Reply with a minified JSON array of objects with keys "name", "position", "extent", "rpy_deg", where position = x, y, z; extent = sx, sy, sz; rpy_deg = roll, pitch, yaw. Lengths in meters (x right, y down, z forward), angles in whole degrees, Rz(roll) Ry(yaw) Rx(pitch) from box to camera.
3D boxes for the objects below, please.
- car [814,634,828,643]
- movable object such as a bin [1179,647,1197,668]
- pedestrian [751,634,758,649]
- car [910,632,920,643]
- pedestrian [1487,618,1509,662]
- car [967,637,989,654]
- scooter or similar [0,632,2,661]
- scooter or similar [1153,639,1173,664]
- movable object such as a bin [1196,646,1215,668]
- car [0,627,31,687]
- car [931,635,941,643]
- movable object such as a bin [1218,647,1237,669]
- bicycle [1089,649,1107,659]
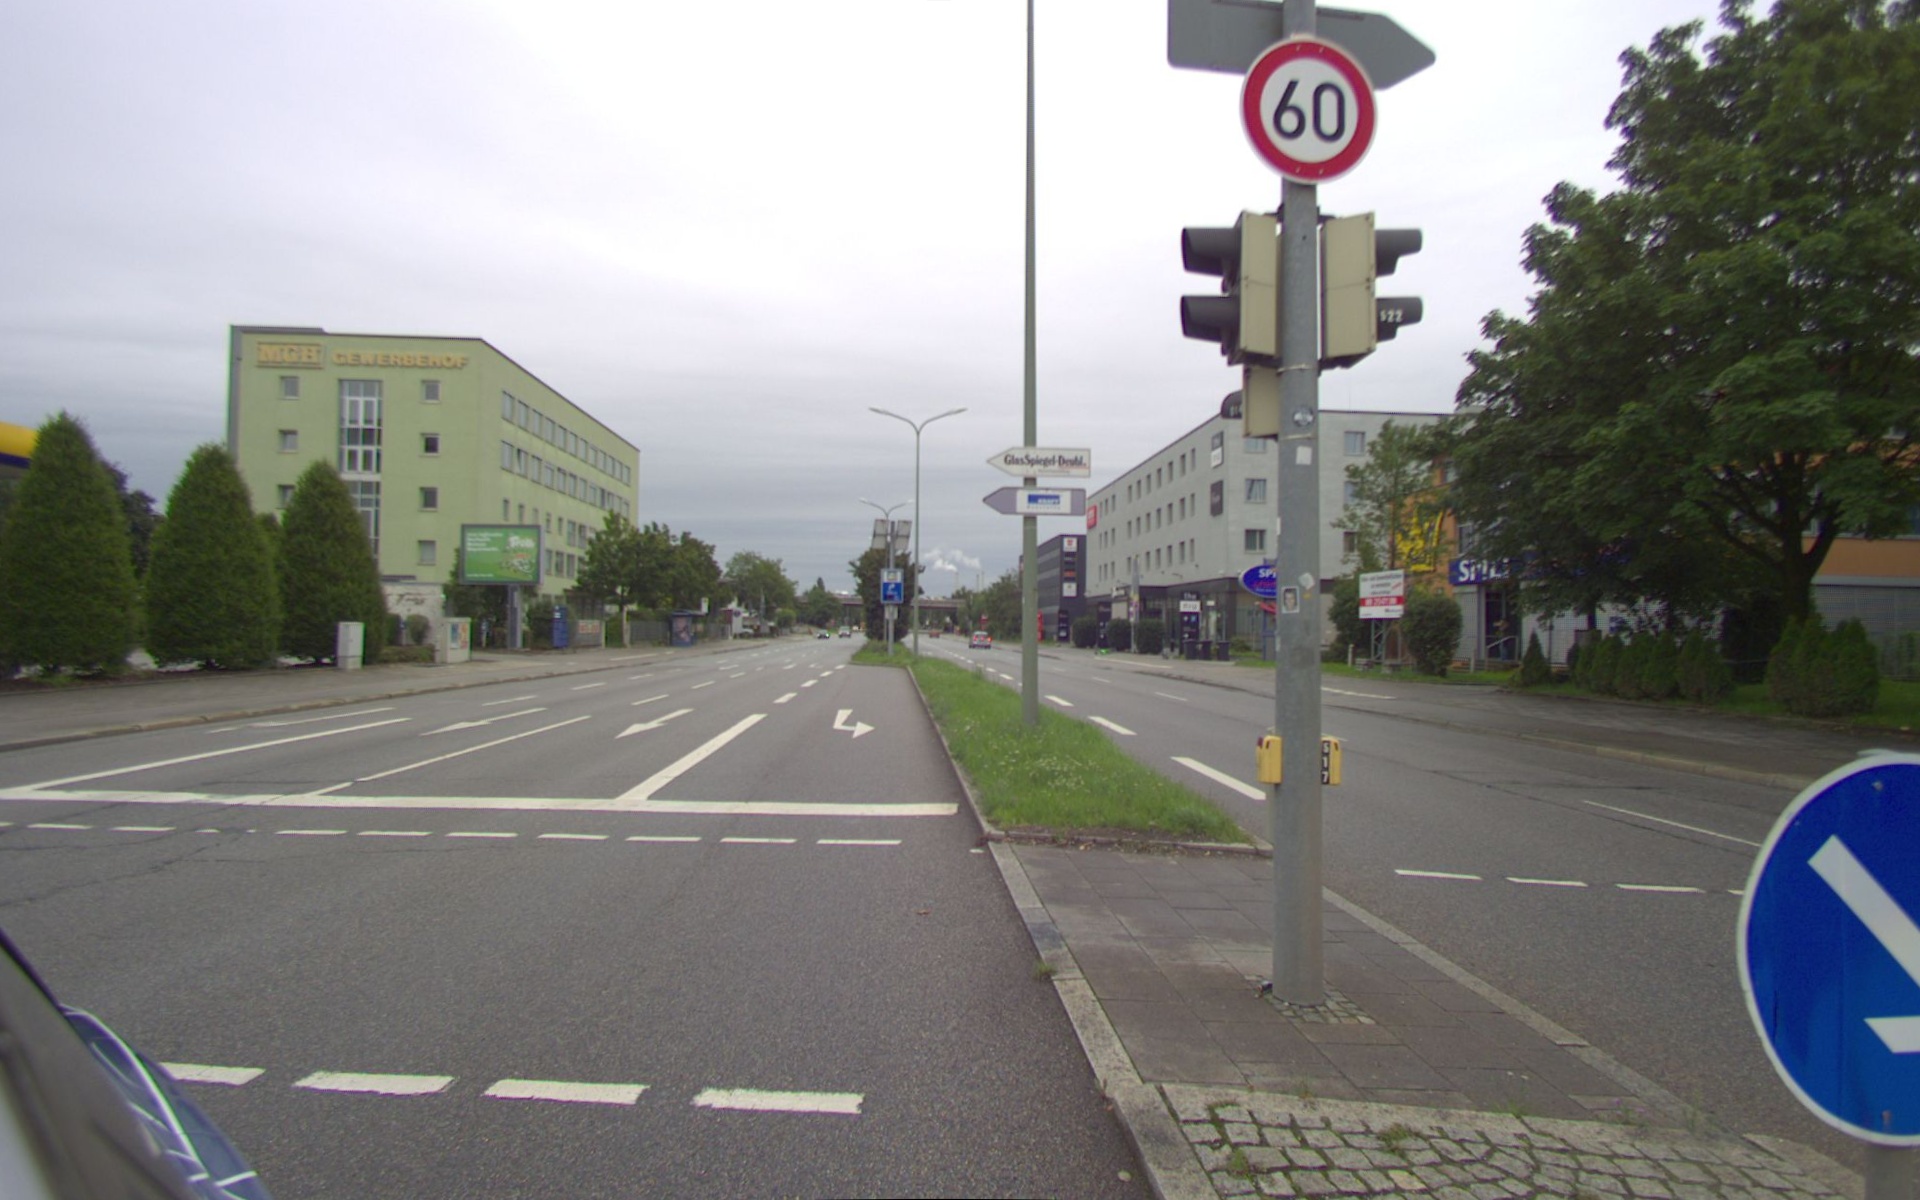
[{"name":"car","position":[-21.938,6.064,160.261],"extent":[1.969,1.412,4.660],"rpy_deg":[0,-2,-5]},{"name":"movable object such as a bin","position":[11.727,2.969,52.174],"extent":[0.728,1.086,0.656],"rpy_deg":[0,-2,-3]},{"name":"pedestrian","position":[-24.296,4.924,119.732],"extent":[0.673,1.835,0.689],"rpy_deg":[0,-2,-5]},{"name":"car","position":[-8.685,7.095,194.155],"extent":[1.791,2.029,3.835],"rpy_deg":[2,-2,-2]},{"name":"pedestrian","position":[21.023,1.554,39.523],"extent":[0.656,1.725,0.657],"rpy_deg":[-1,-2,23]},{"name":"car","position":[1.719,4.311,96.532],"extent":[1.793,1.569,4.028],"rpy_deg":[2,-2,-3]},{"name":"scooter or similar","position":[-16.548,1.138,16.474],"extent":[0.352,1.252,1.545],"rpy_deg":[3,-2,1]},{"name":"scooter or similar","position":[10.920,2.758,54.474],"extent":[0.579,1.287,1.405],"rpy_deg":[-4,-2,-4]},{"name":"movable object such as a bin","position":[12.519,2.919,51.609],"extent":[0.728,1.086,0.656],"rpy_deg":[0,-2,-3]},{"name":"car","position":[-22.292,1.255,21.443],"extent":[1.773,1.342,4.005],"rpy_deg":[0,-2,-5]},{"name":"car","position":[-4.615,7.478,194.388],"extent":[1.715,1.560,4.308],"rpy_deg":[2,-2,-4]},{"name":"movable object such as a bin","position":[13.665,2.969,51.723],"extent":[0.728,1.086,0.656],"rpy_deg":[0,-2,-3]},{"name":"bicycle","position":[8.841,3.468,64.884],"extent":[0.711,0.553,1.734],"rpy_deg":[-3,-2,-4]}]
